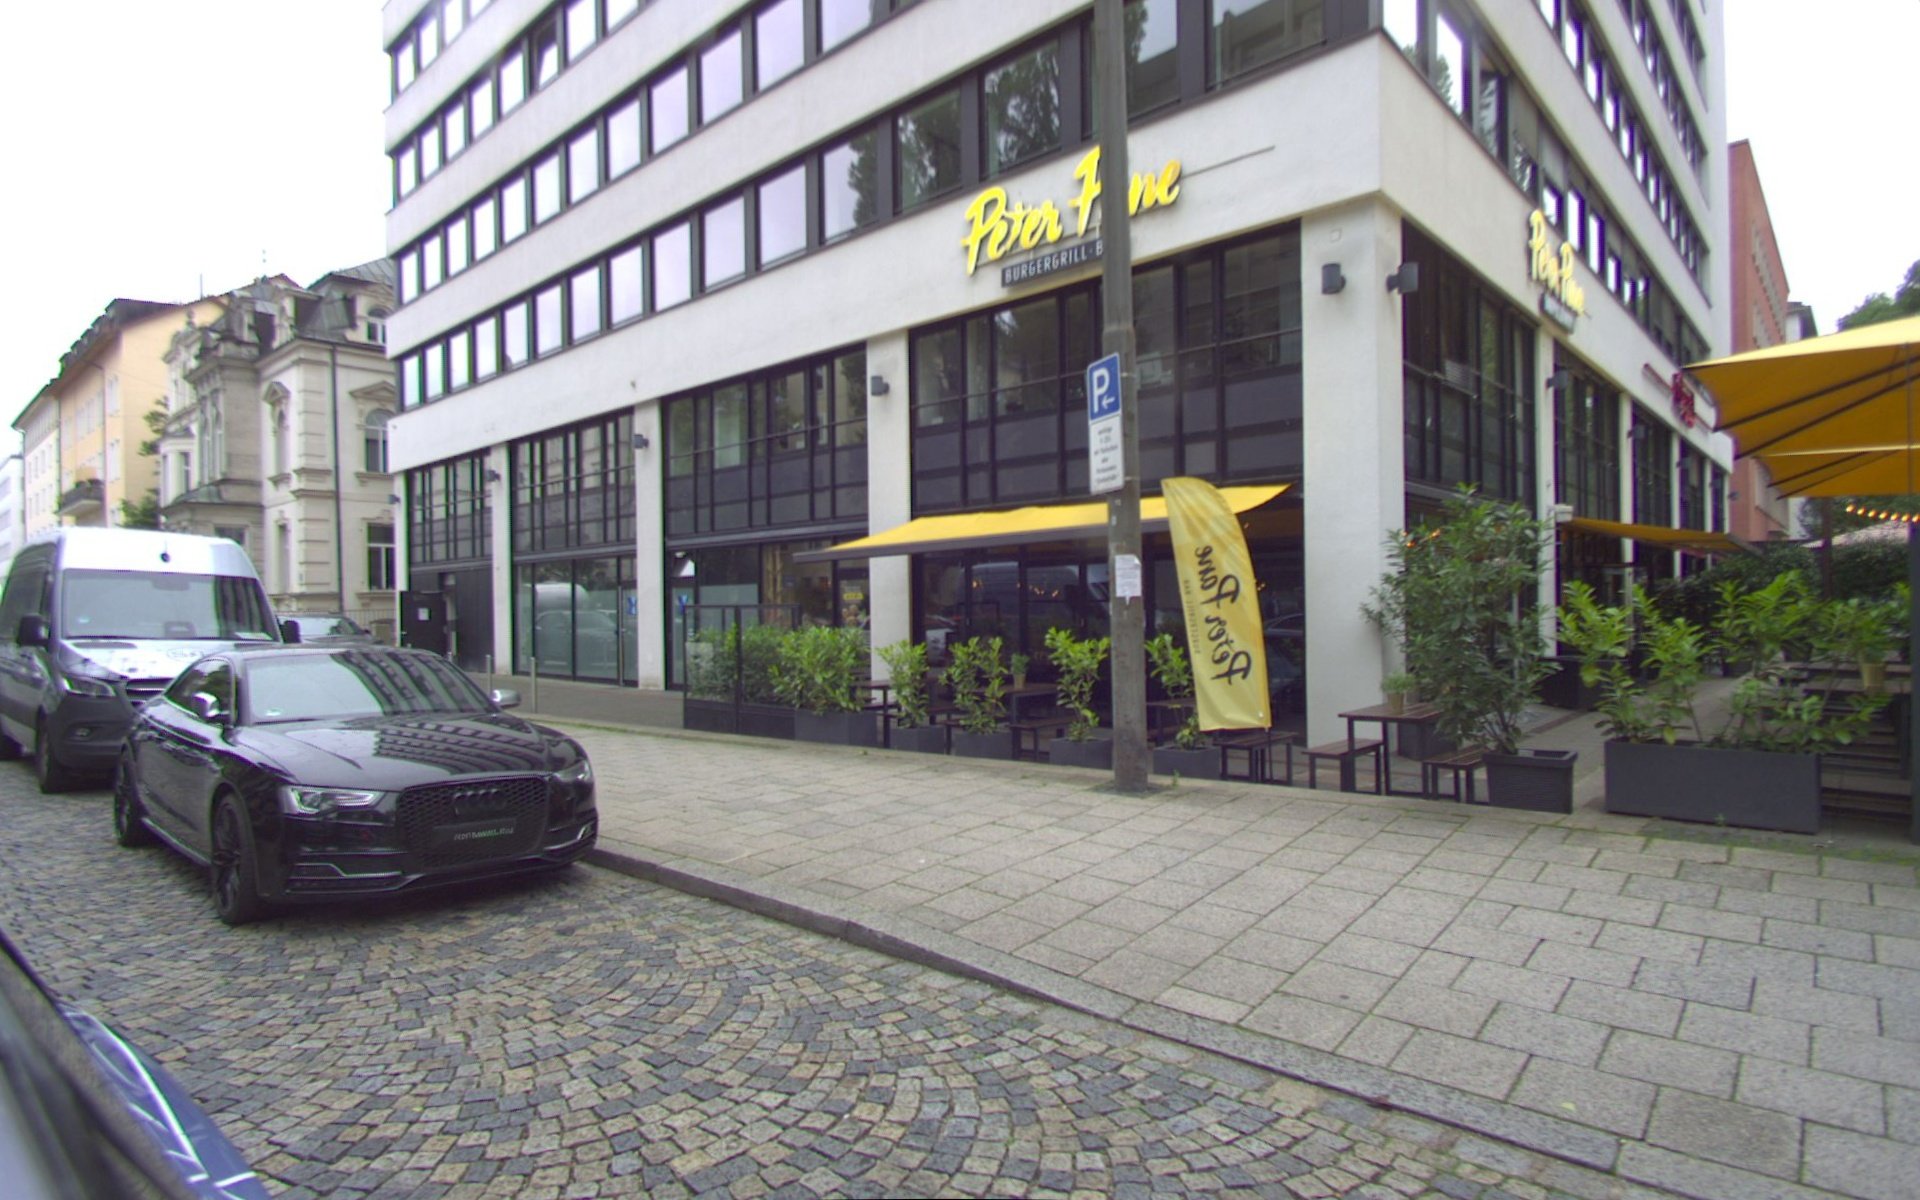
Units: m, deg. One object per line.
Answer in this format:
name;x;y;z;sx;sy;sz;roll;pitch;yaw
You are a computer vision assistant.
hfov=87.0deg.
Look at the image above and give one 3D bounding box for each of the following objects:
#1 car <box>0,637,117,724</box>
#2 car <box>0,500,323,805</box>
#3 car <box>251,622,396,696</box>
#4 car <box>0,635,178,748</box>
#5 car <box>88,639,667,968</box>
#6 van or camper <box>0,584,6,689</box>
car;-17.025;1.397;18.458;3.998;1.399;1.973;-2;-1;41
car;-9.073;0.494;11.015;5.846;2.510;2.038;-2;-1;41
car;-15.168;1.344;24.030;4.169;1.544;1.887;-2;-1;43
car;-13.514;1.277;15.297;3.998;1.441;1.973;-2;-1;41
car;-3.887;0.951;6.445;4.114;1.340;1.973;-2;-1;41
van or camper;-31.426;1.149;31.031;7.313;3.070;2.432;-2;-1;41
